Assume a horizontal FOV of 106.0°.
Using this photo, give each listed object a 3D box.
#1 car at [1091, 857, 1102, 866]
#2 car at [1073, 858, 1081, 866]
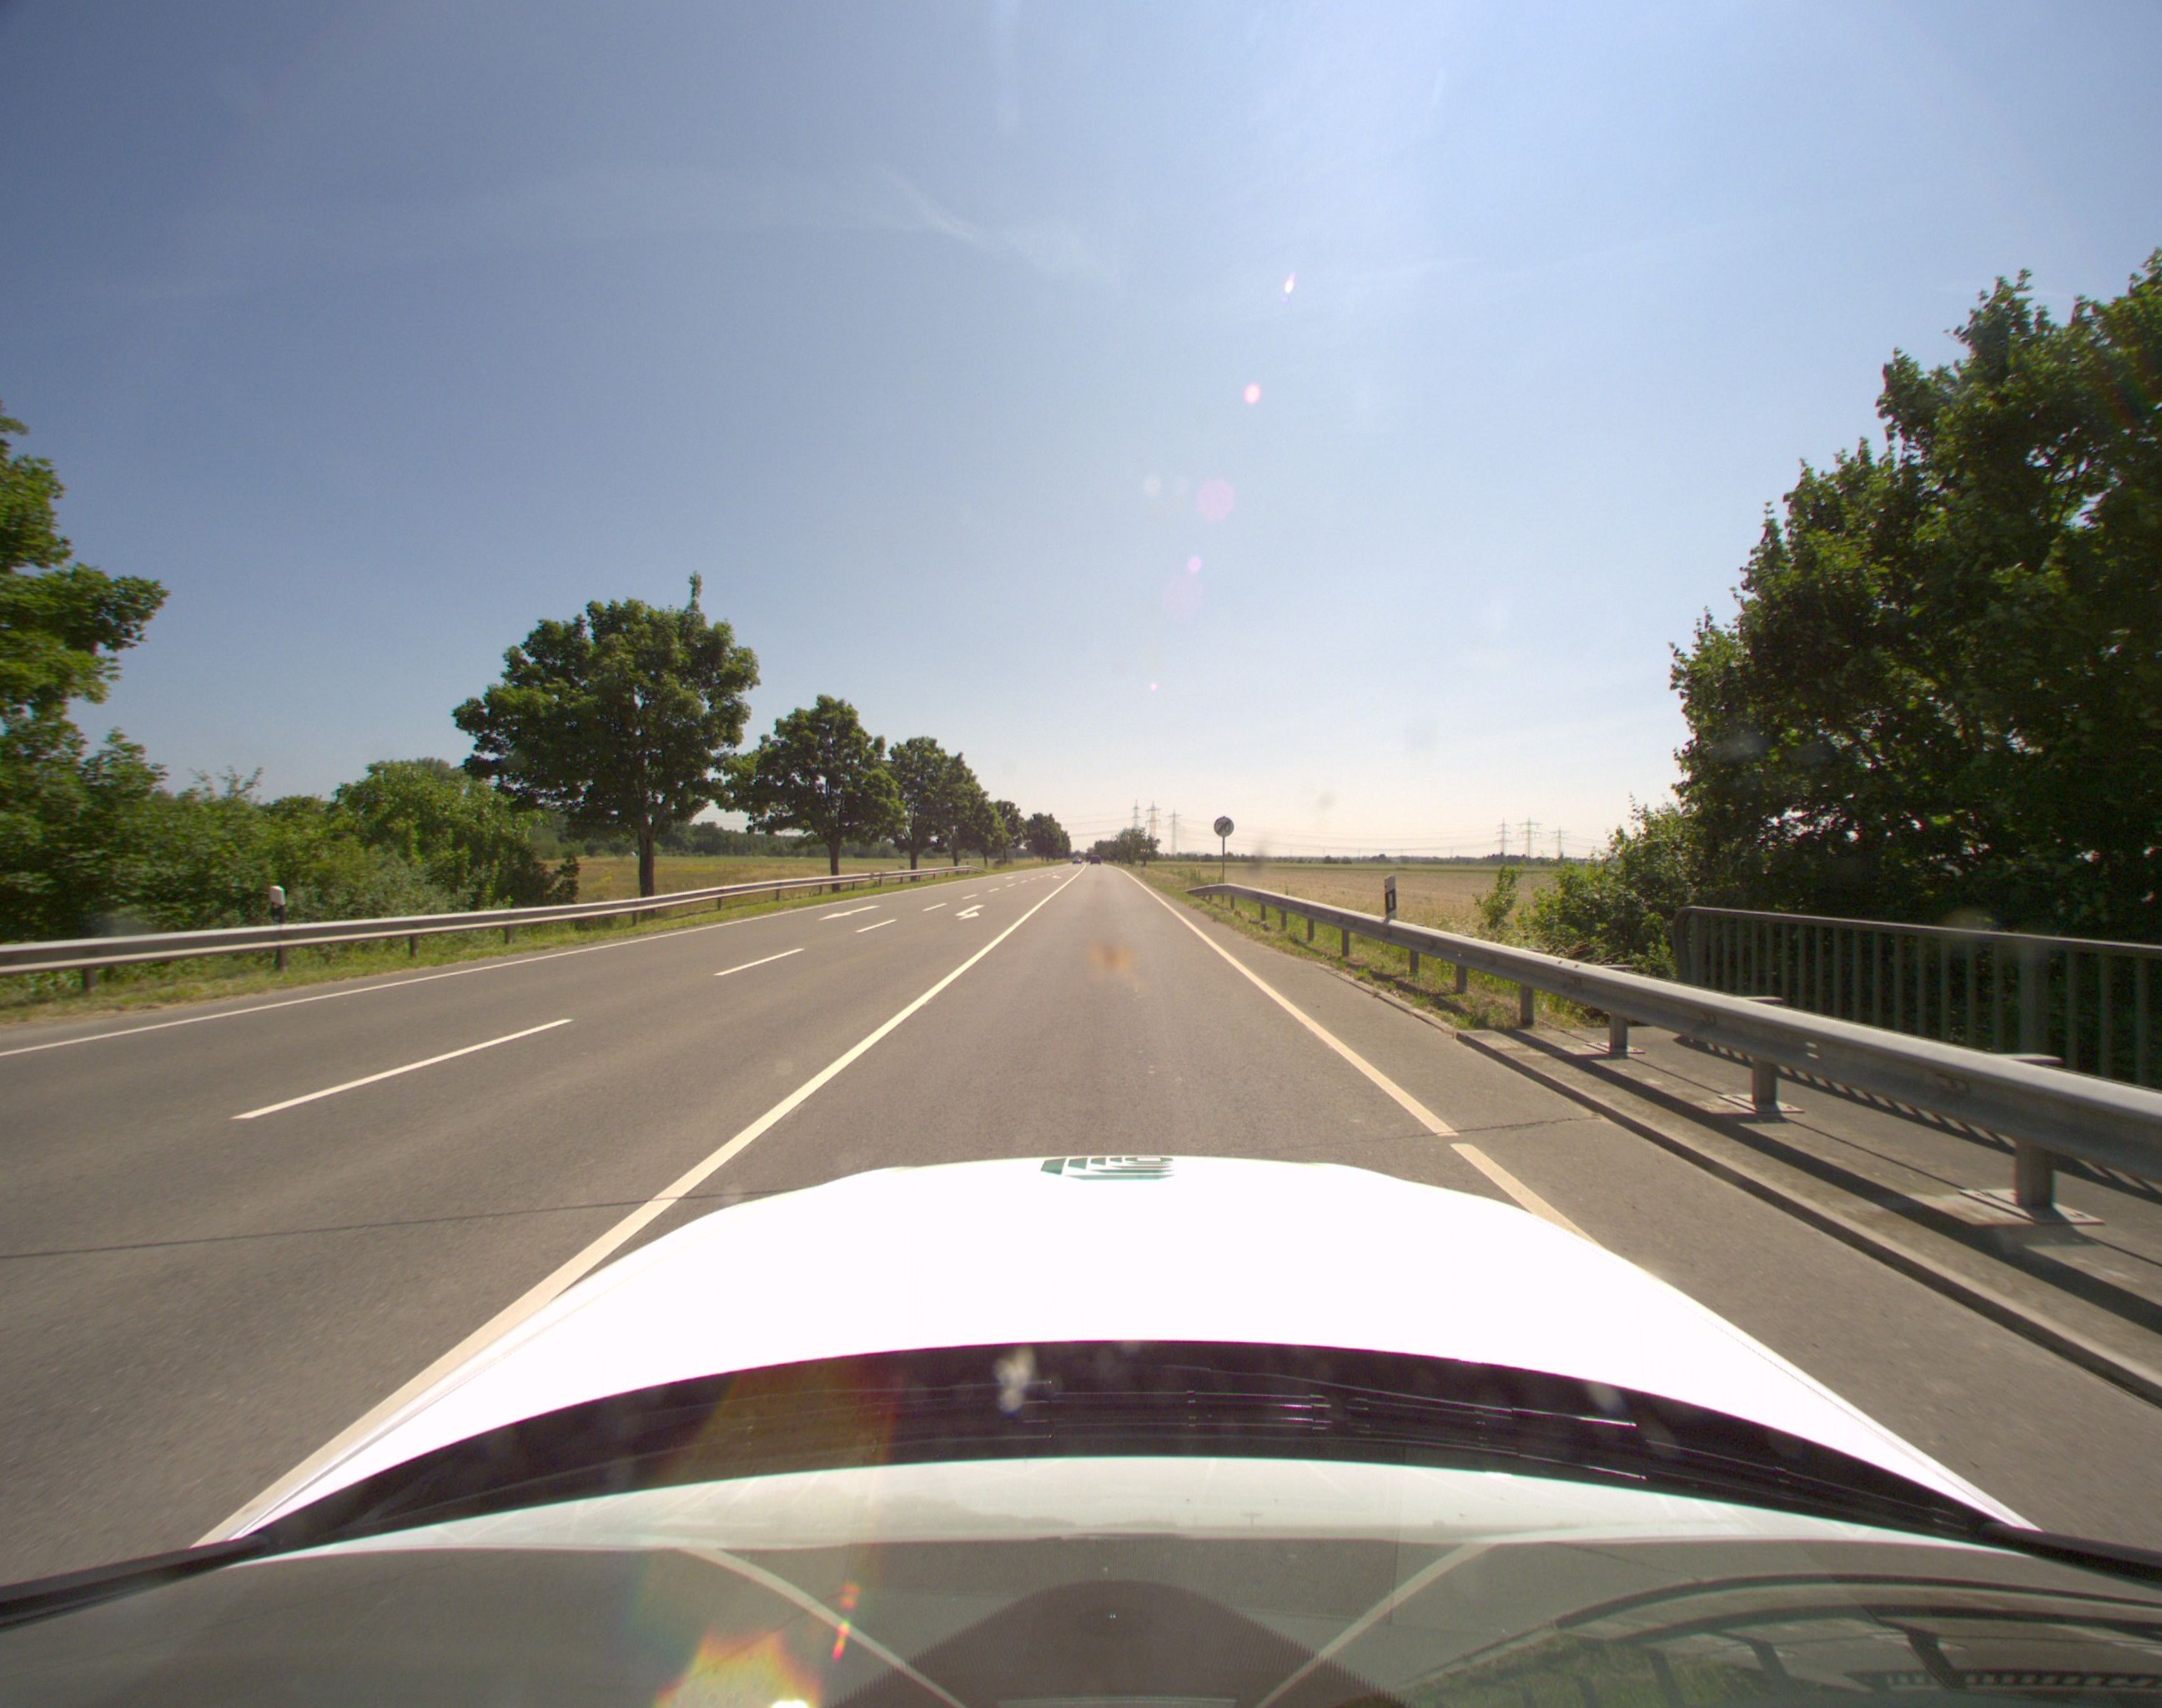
[{"bbox_3d":[2.739,1.376,146.516,1.879,1.518,4.039,3,0,0],"label":"car"},{"bbox_3d":[-0.781,1.573,164.887,1.734,1.473,4.617,0,0,0],"label":"car"}]
